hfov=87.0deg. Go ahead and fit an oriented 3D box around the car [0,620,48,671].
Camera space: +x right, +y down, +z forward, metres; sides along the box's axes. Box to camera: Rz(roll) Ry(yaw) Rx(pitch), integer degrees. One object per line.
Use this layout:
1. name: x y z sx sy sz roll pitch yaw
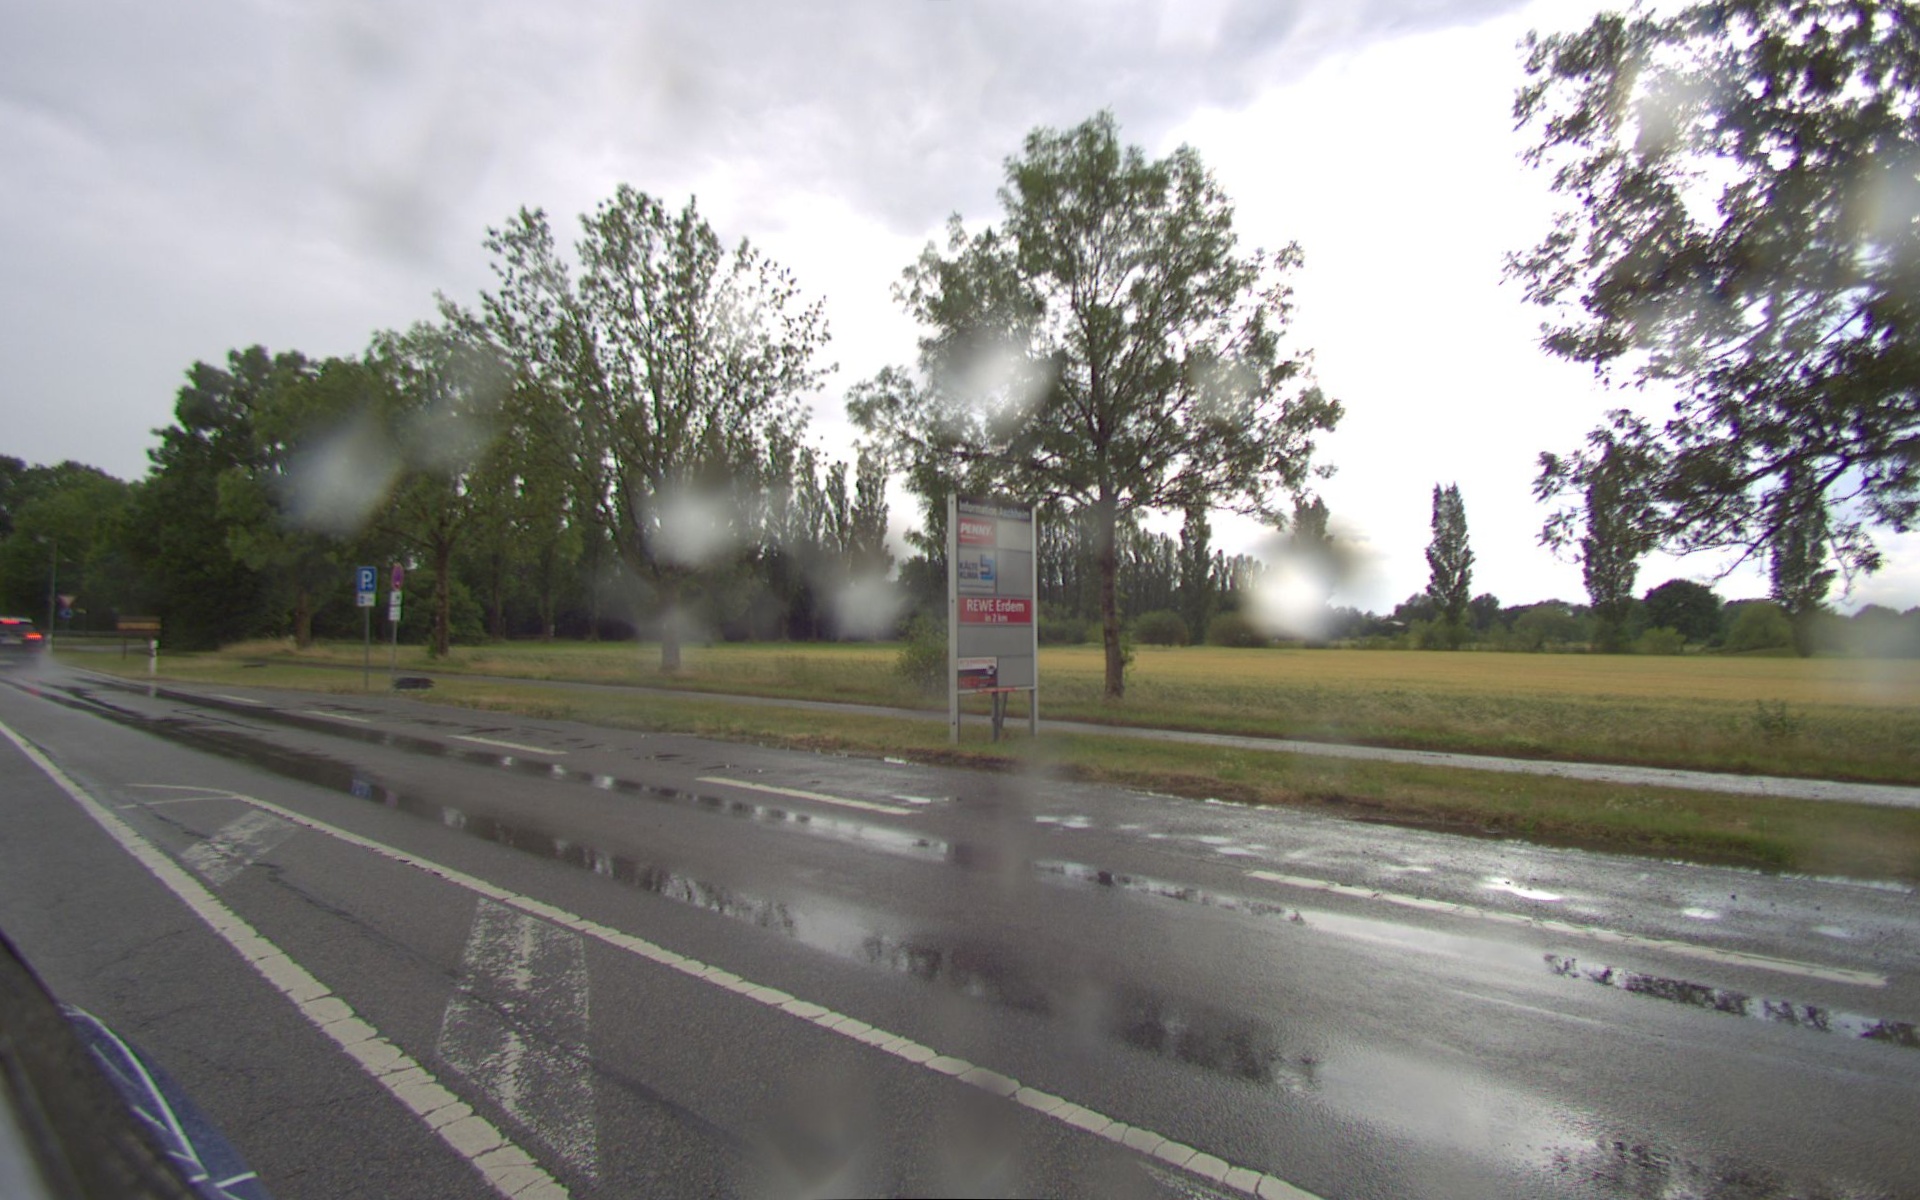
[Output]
1. car: -32.237 1.484 33.960 4.355 1.644 1.896 -1 -3 41
